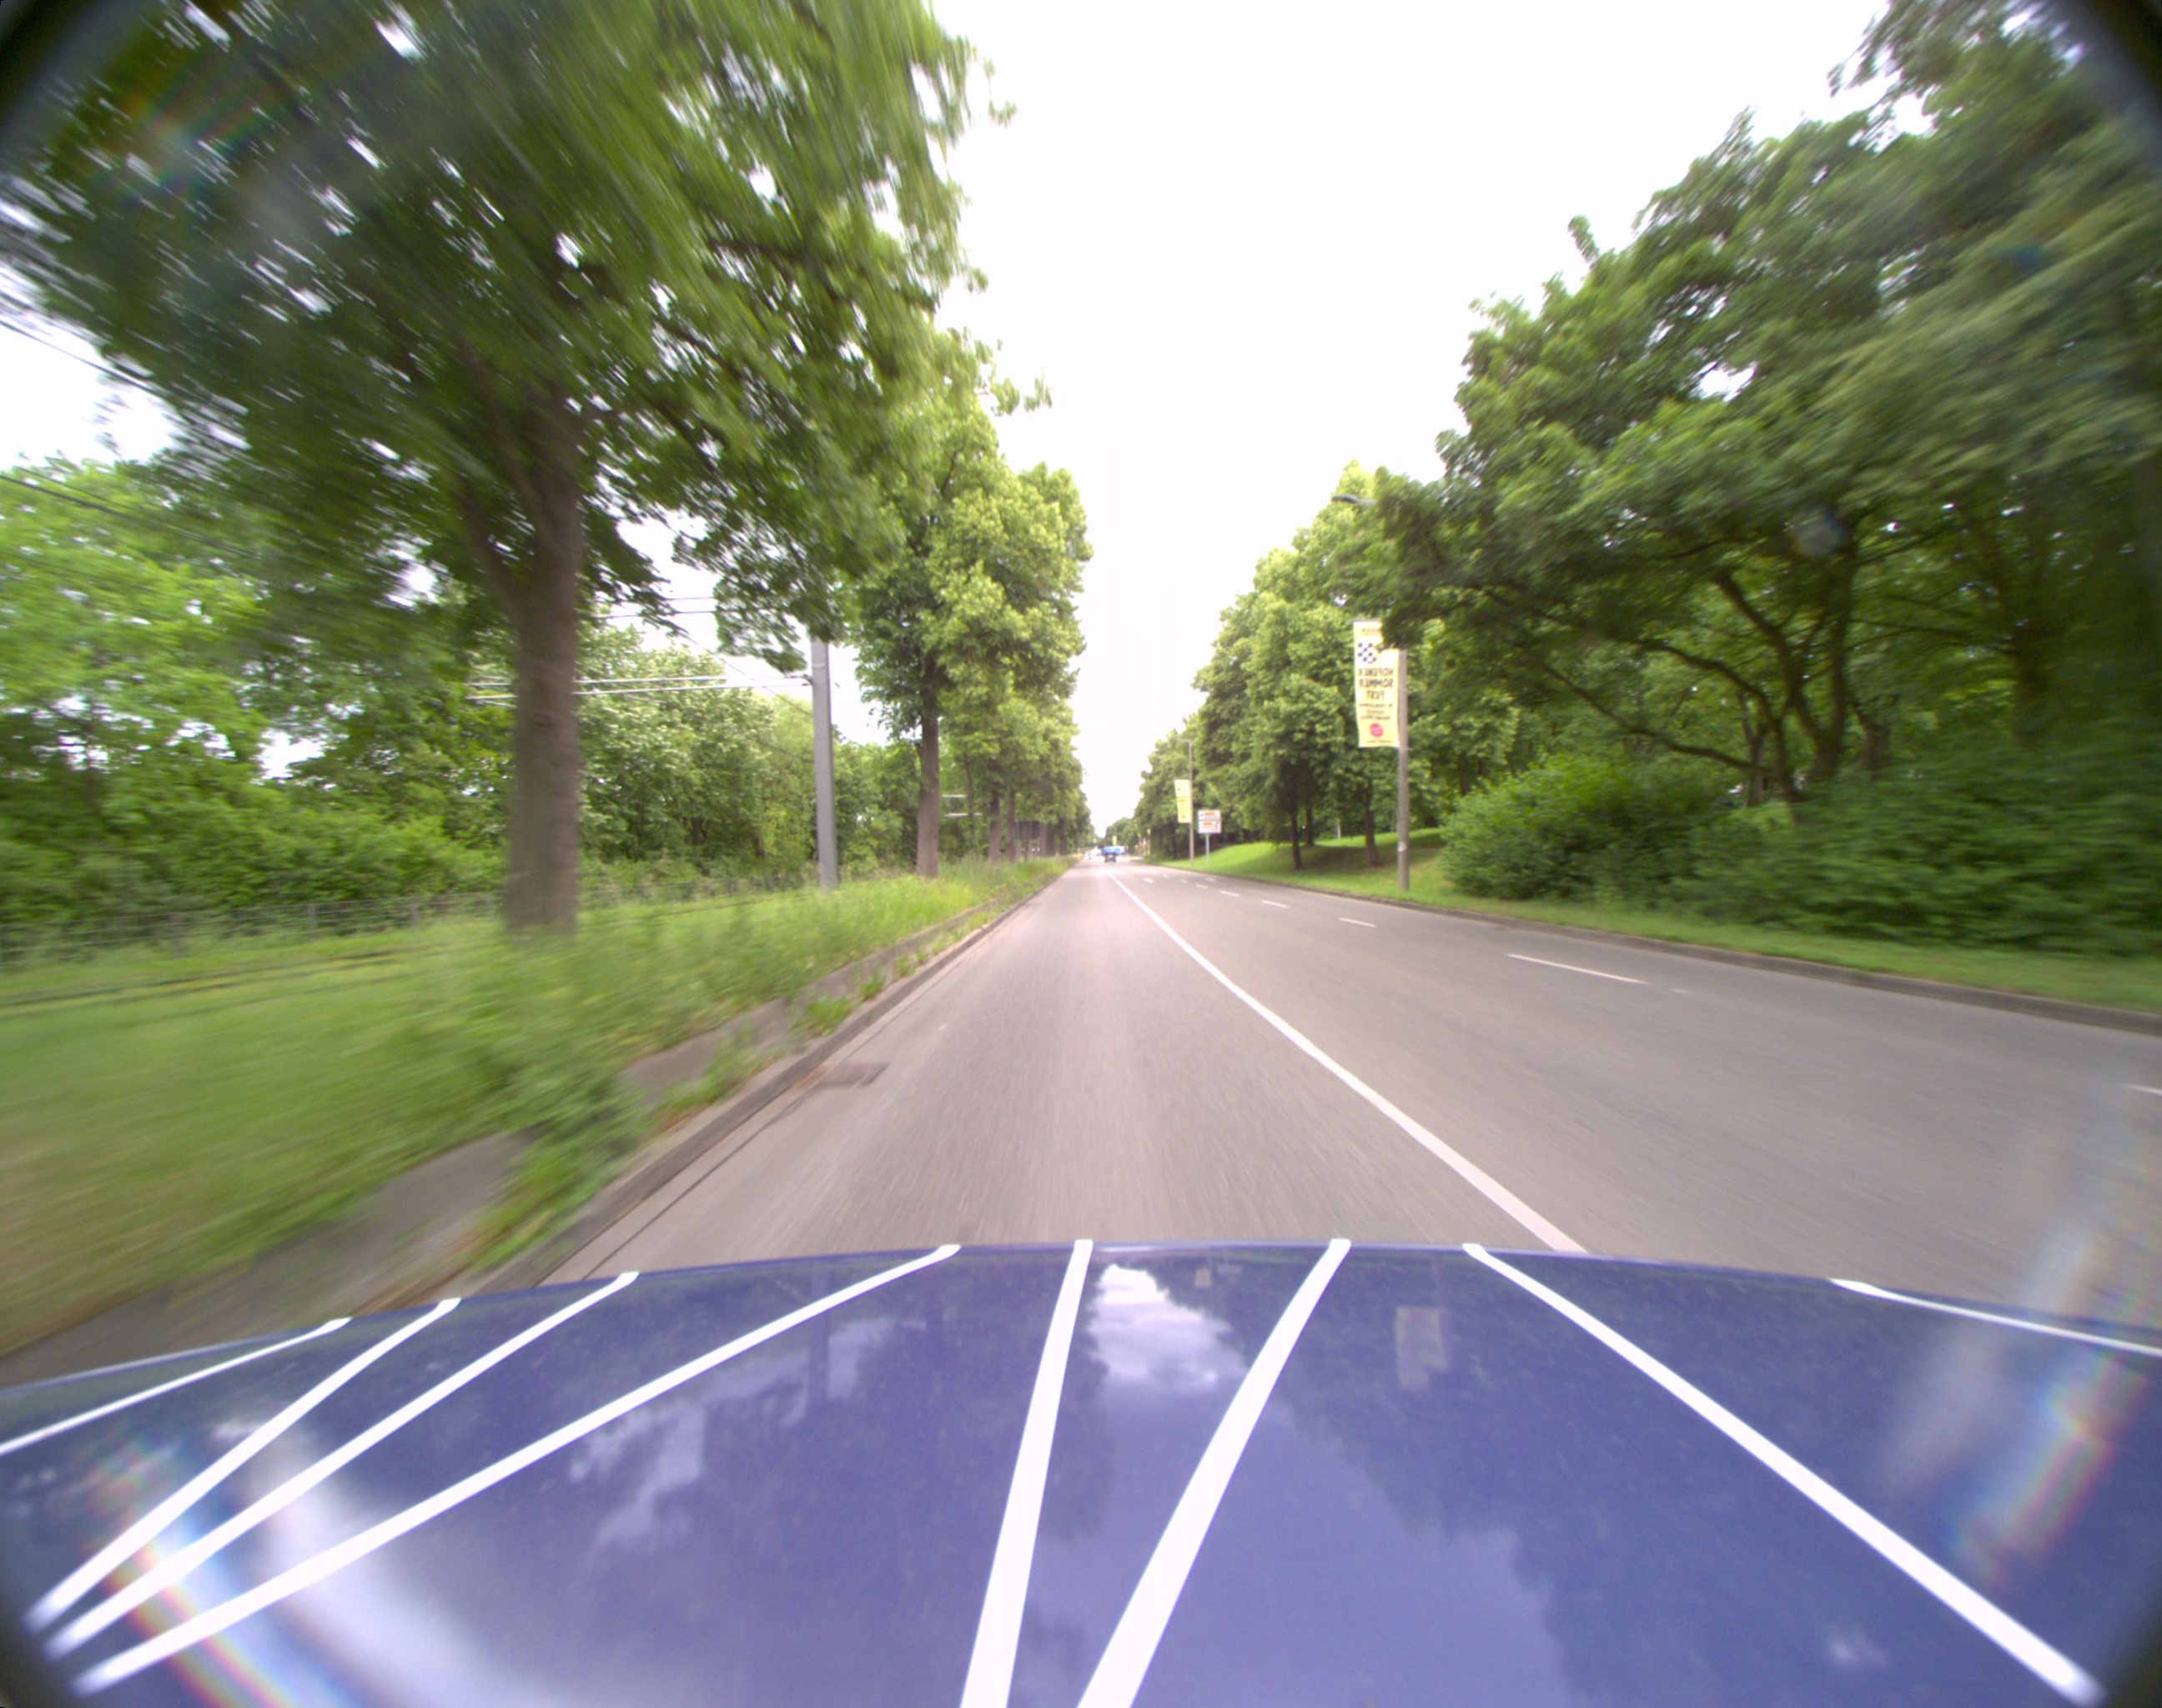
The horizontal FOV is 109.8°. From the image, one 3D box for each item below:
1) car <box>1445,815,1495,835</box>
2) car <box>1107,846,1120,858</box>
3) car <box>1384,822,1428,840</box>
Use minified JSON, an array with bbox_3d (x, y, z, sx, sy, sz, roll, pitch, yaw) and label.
[{"bbox_3d":[42.201,-3.137,82.391,4.910,1.884,2.316,-3,1,-26],"label":"car"},{"bbox_3d":[5.479,-0.317,128.218,1.998,1.944,5.183,-2,1,1],"label":"car"},{"bbox_3d":[38.485,-2.712,89.926,4.910,1.884,1.996,-3,1,-26],"label":"car"}]
